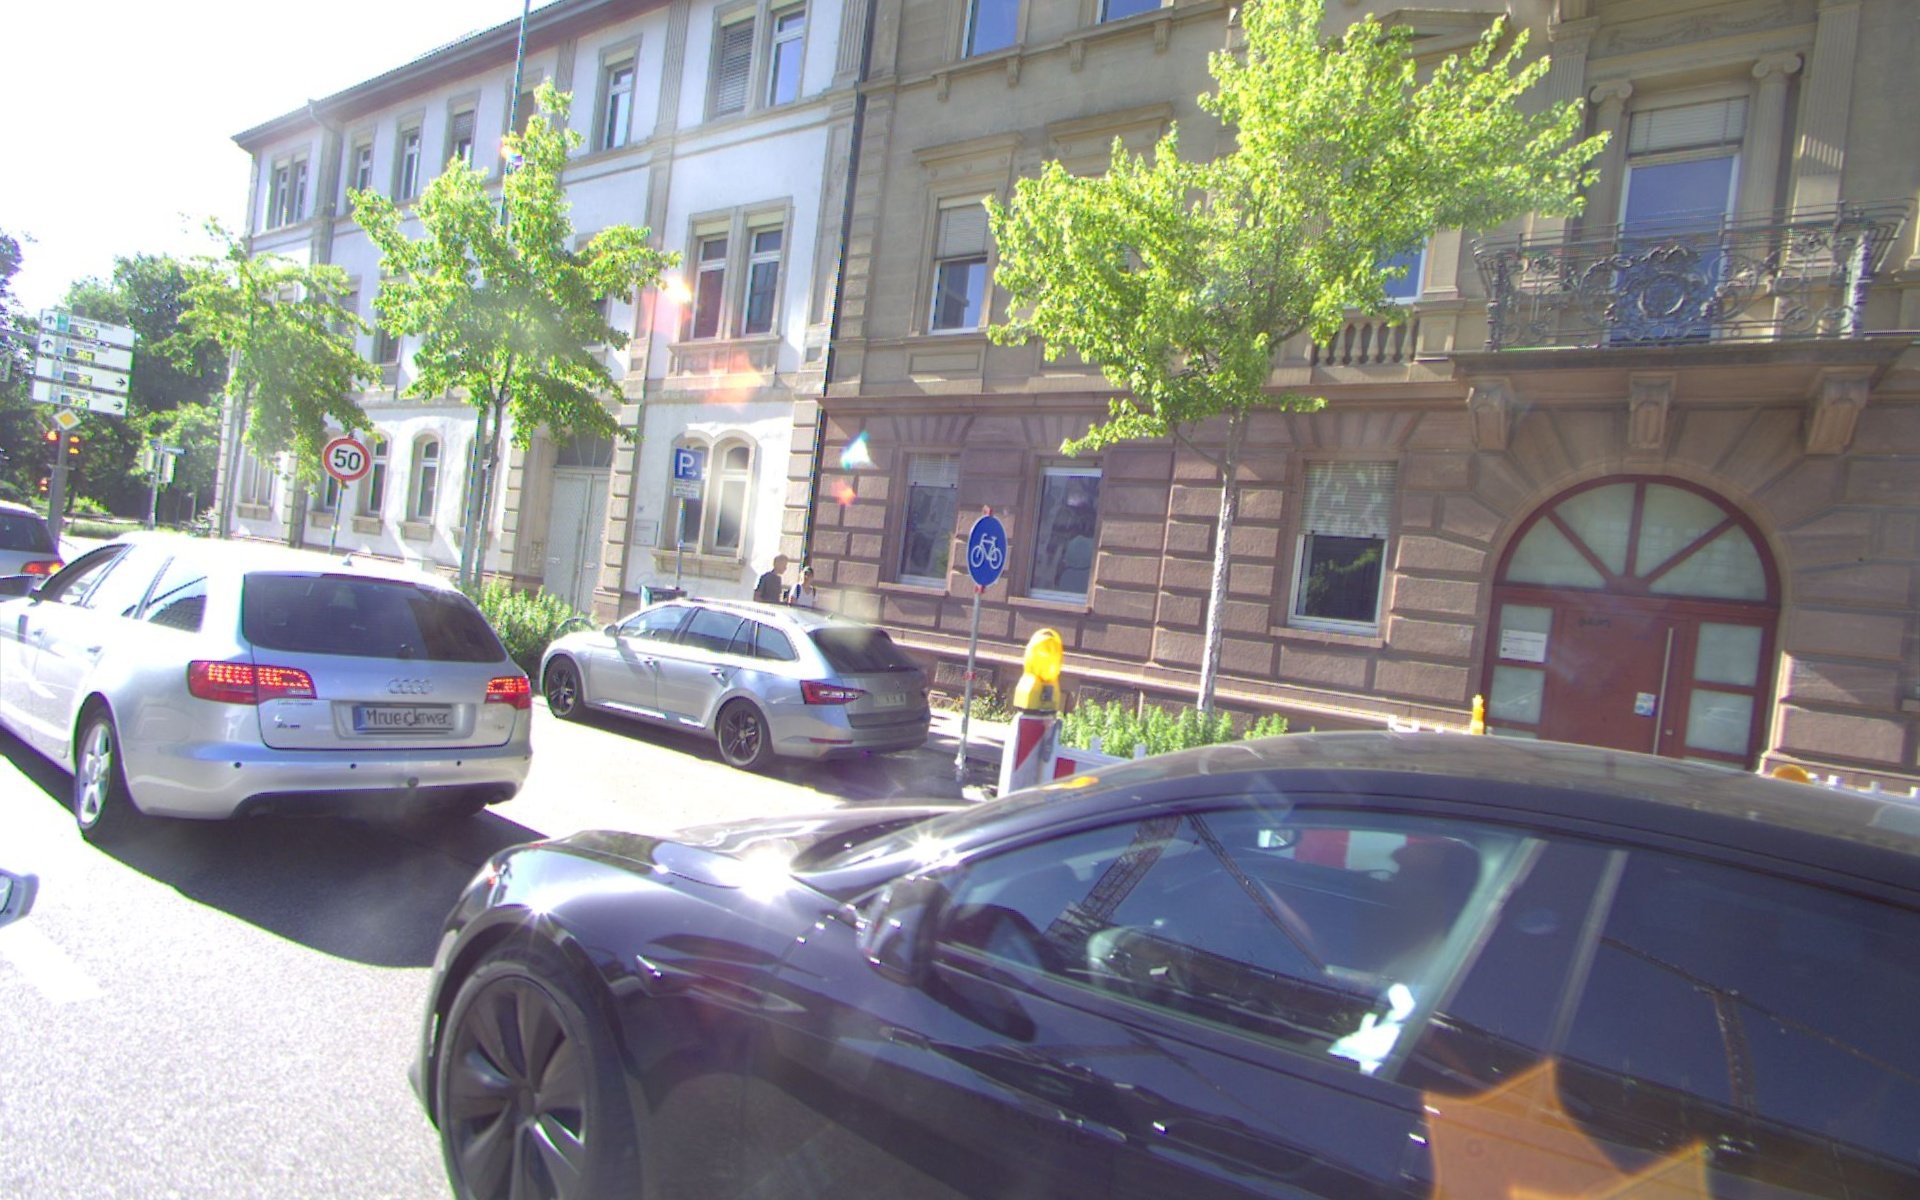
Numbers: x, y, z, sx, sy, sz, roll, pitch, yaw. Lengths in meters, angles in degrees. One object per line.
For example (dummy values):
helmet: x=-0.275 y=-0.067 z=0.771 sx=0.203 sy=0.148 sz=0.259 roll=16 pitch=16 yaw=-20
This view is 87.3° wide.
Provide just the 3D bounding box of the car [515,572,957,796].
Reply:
car: x=-2.448 y=0.693 z=10.329 sx=4.626 sy=1.495 sz=1.647 roll=7 pitch=2 yaw=35

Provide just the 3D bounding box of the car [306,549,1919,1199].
car: x=0.777 y=0.922 z=2.201 sx=4.452 sy=1.460 sz=2.054 roll=7 pitch=-2 yaw=35

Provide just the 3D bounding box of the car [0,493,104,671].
car: x=-10.202 y=-0.383 z=9.854 sx=3.942 sy=1.545 sz=1.751 roll=7 pitch=-1 yaw=36

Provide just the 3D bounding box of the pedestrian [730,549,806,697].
pedestrian: x=-2.623 y=0.307 z=13.761 sx=0.578 sy=1.939 sz=0.658 roll=7 pitch=4 yaw=34

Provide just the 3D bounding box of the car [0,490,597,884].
car: x=-4.418 y=0.256 z=6.082 sx=4.764 sy=1.444 sz=1.748 roll=7 pitch=-1 yaw=37

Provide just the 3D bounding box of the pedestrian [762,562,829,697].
pedestrian: x=-2.353 y=0.421 z=14.415 sx=0.578 sy=1.846 sz=0.562 roll=7 pitch=4 yaw=34
